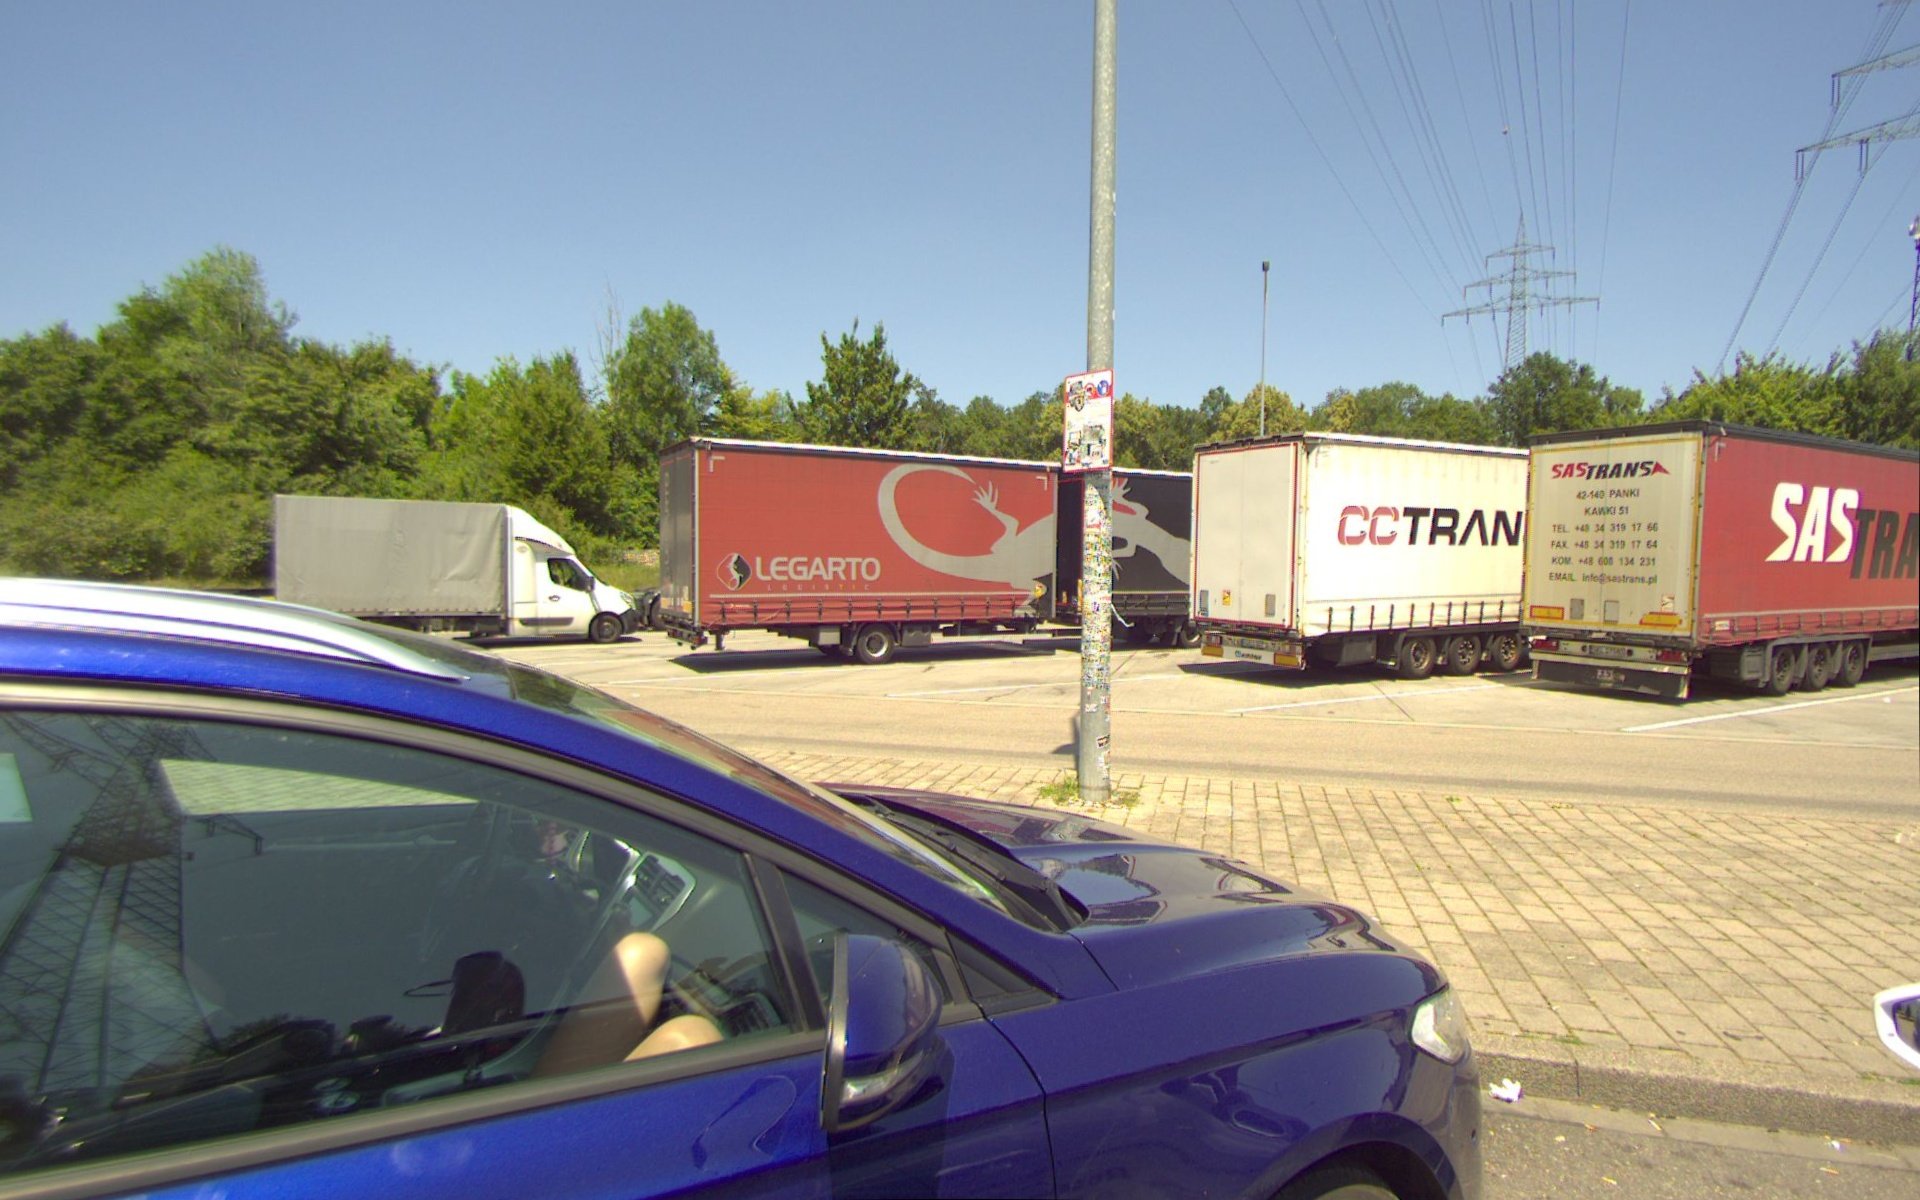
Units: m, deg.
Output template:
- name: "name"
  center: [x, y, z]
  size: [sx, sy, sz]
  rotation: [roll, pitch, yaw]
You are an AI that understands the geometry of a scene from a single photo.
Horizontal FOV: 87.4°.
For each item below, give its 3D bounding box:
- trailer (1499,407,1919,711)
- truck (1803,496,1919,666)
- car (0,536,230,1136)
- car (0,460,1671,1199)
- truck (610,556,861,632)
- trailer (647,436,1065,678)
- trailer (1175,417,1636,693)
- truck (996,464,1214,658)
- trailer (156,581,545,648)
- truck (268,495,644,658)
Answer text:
- name: "trailer"
  center: [15.405, -0.702, 18.569]
  size: [13.559, 4.189, 2.892]
  rotation: [-1, 3, -30]
- name: "truck"
  center: [21.726, -0.431, 22.314]
  size: [5.418, 3.475, 2.838]
  rotation: [-1, 3, -30]
- name: "car"
  center: [-4.550, 0.583, 2.256]
  size: [4.592, 1.554, 1.726]
  rotation: [0, 1, -33]
- name: "car"
  center: [-0.977, 0.654, 1.472]
  size: [4.592, 1.502, 1.727]
  rotation: [0, 0, -33]
- name: "truck"
  center: [-6.485, -0.154, 29.527]
  size: [6.961, 2.040, 1.984]
  rotation: [0, 0, -30]
- name: "trailer"
  center: [-1.927, -0.825, 20.269]
  size: [7.996, 4.101, 2.696]
  rotation: [-1, 3, -30]
- name: "trailer"
  center: [8.865, -0.818, 19.332]
  size: [10.049, 4.267, 2.714]
  rotation: [-1, 3, -30]
- name: "truck"
  center: [3.354, -0.899, 23.364]
  size: [4.273, 4.072, 2.689]
  rotation: [-1, 3, -30]
- name: "trailer"
  center: [-14.833, 0.269, 25.185]
  size: [7.996, 1.394, 2.211]
  rotation: [-1, 3, -30]
- name: "truck"
  center: [-11.204, -0.565, 22.903]
  size: [7.254, 3.254, 2.515]
  rotation: [-1, 3, -30]
